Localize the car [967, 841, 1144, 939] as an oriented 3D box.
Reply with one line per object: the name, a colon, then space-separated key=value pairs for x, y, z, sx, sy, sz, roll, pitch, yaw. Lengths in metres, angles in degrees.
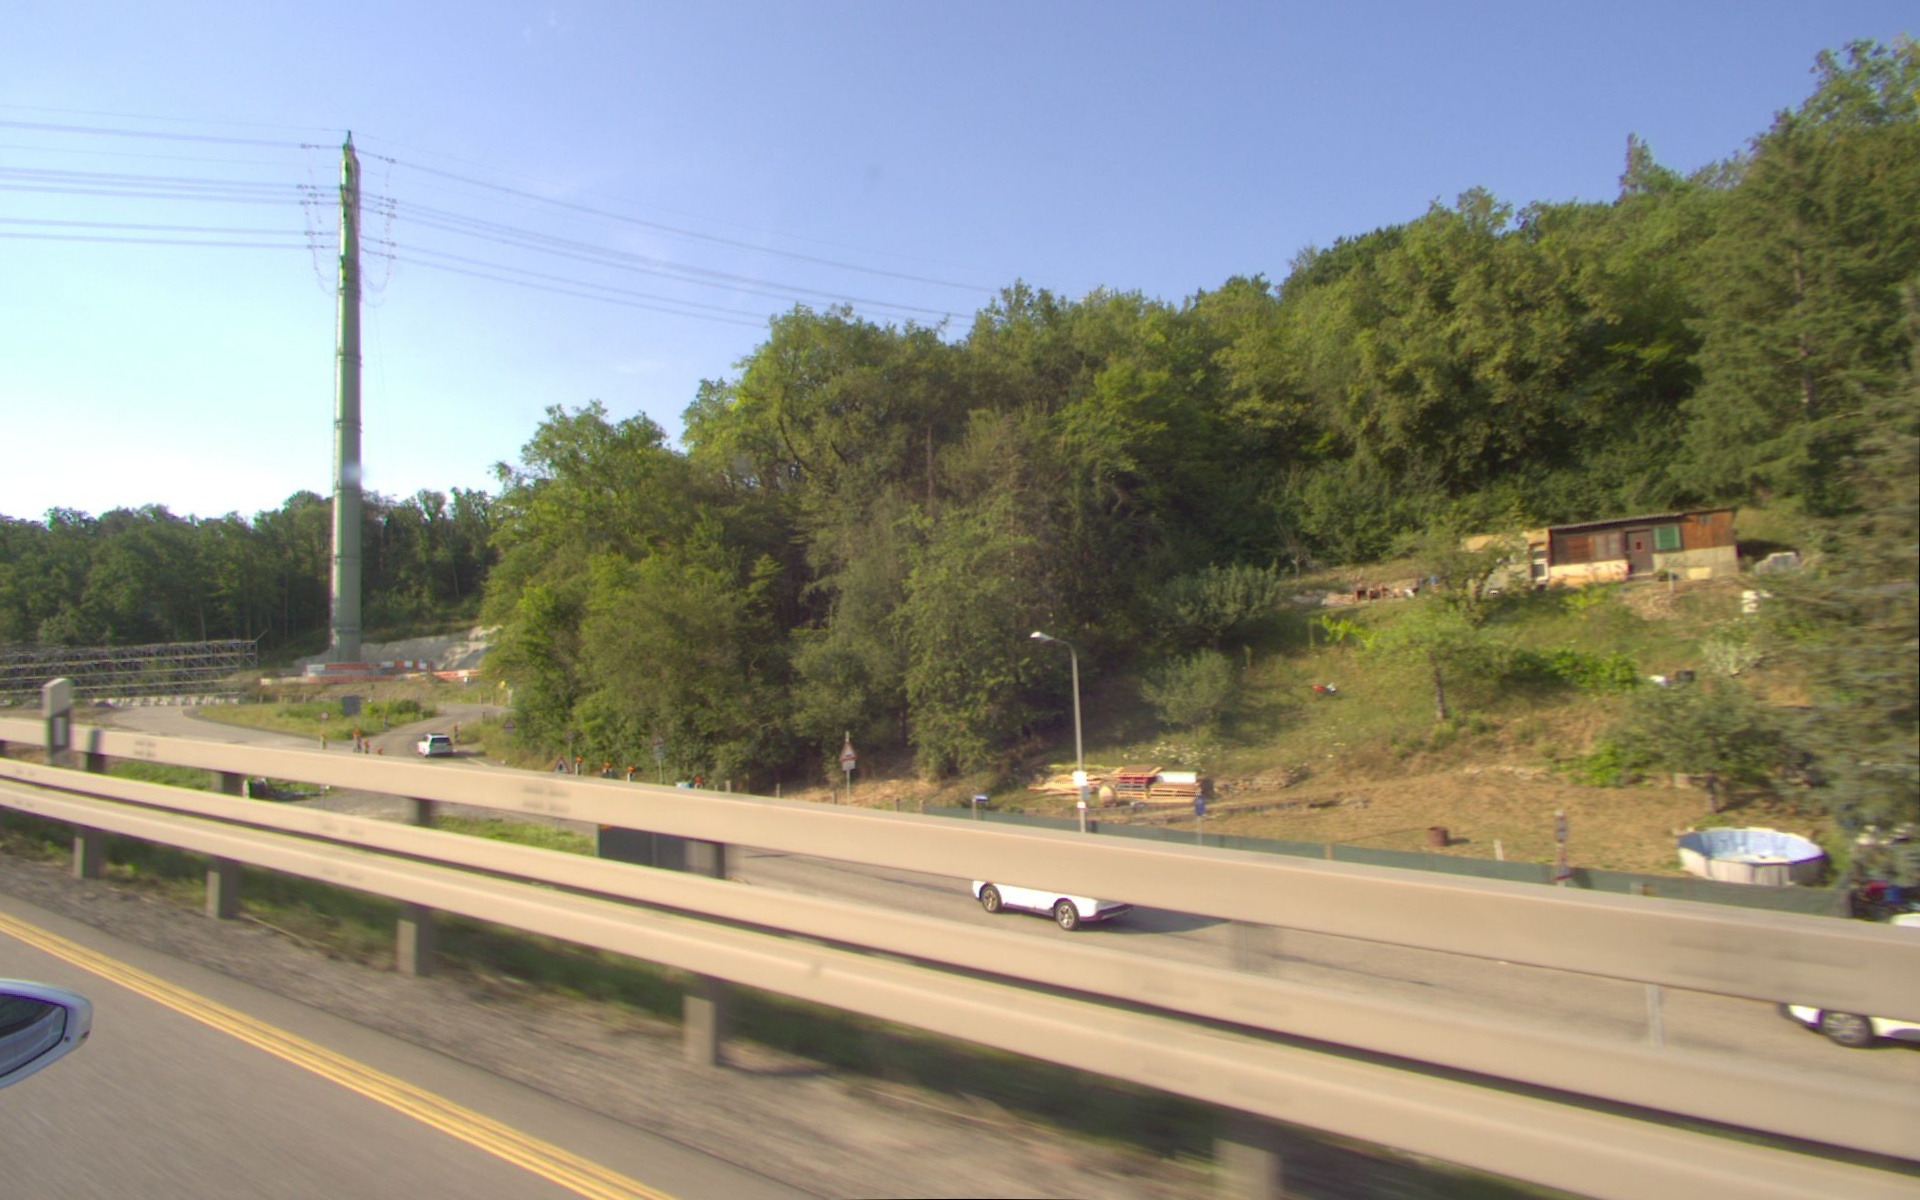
car: x=2.367 y=7.358 z=25.779 sx=4.423 sy=1.681 sz=1.661 roll=-5 pitch=-7 yaw=41

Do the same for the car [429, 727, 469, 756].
car: x=-35.179 y=9.715 z=69.017 sx=1.503 sy=1.479 sz=4.264 roll=-1 pitch=-2 yaw=-15

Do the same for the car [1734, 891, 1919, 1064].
car: x=15.698 y=6.187 z=16.082 sx=4.997 sy=2.010 sz=1.854 roll=-5 pitch=-4 yaw=41
